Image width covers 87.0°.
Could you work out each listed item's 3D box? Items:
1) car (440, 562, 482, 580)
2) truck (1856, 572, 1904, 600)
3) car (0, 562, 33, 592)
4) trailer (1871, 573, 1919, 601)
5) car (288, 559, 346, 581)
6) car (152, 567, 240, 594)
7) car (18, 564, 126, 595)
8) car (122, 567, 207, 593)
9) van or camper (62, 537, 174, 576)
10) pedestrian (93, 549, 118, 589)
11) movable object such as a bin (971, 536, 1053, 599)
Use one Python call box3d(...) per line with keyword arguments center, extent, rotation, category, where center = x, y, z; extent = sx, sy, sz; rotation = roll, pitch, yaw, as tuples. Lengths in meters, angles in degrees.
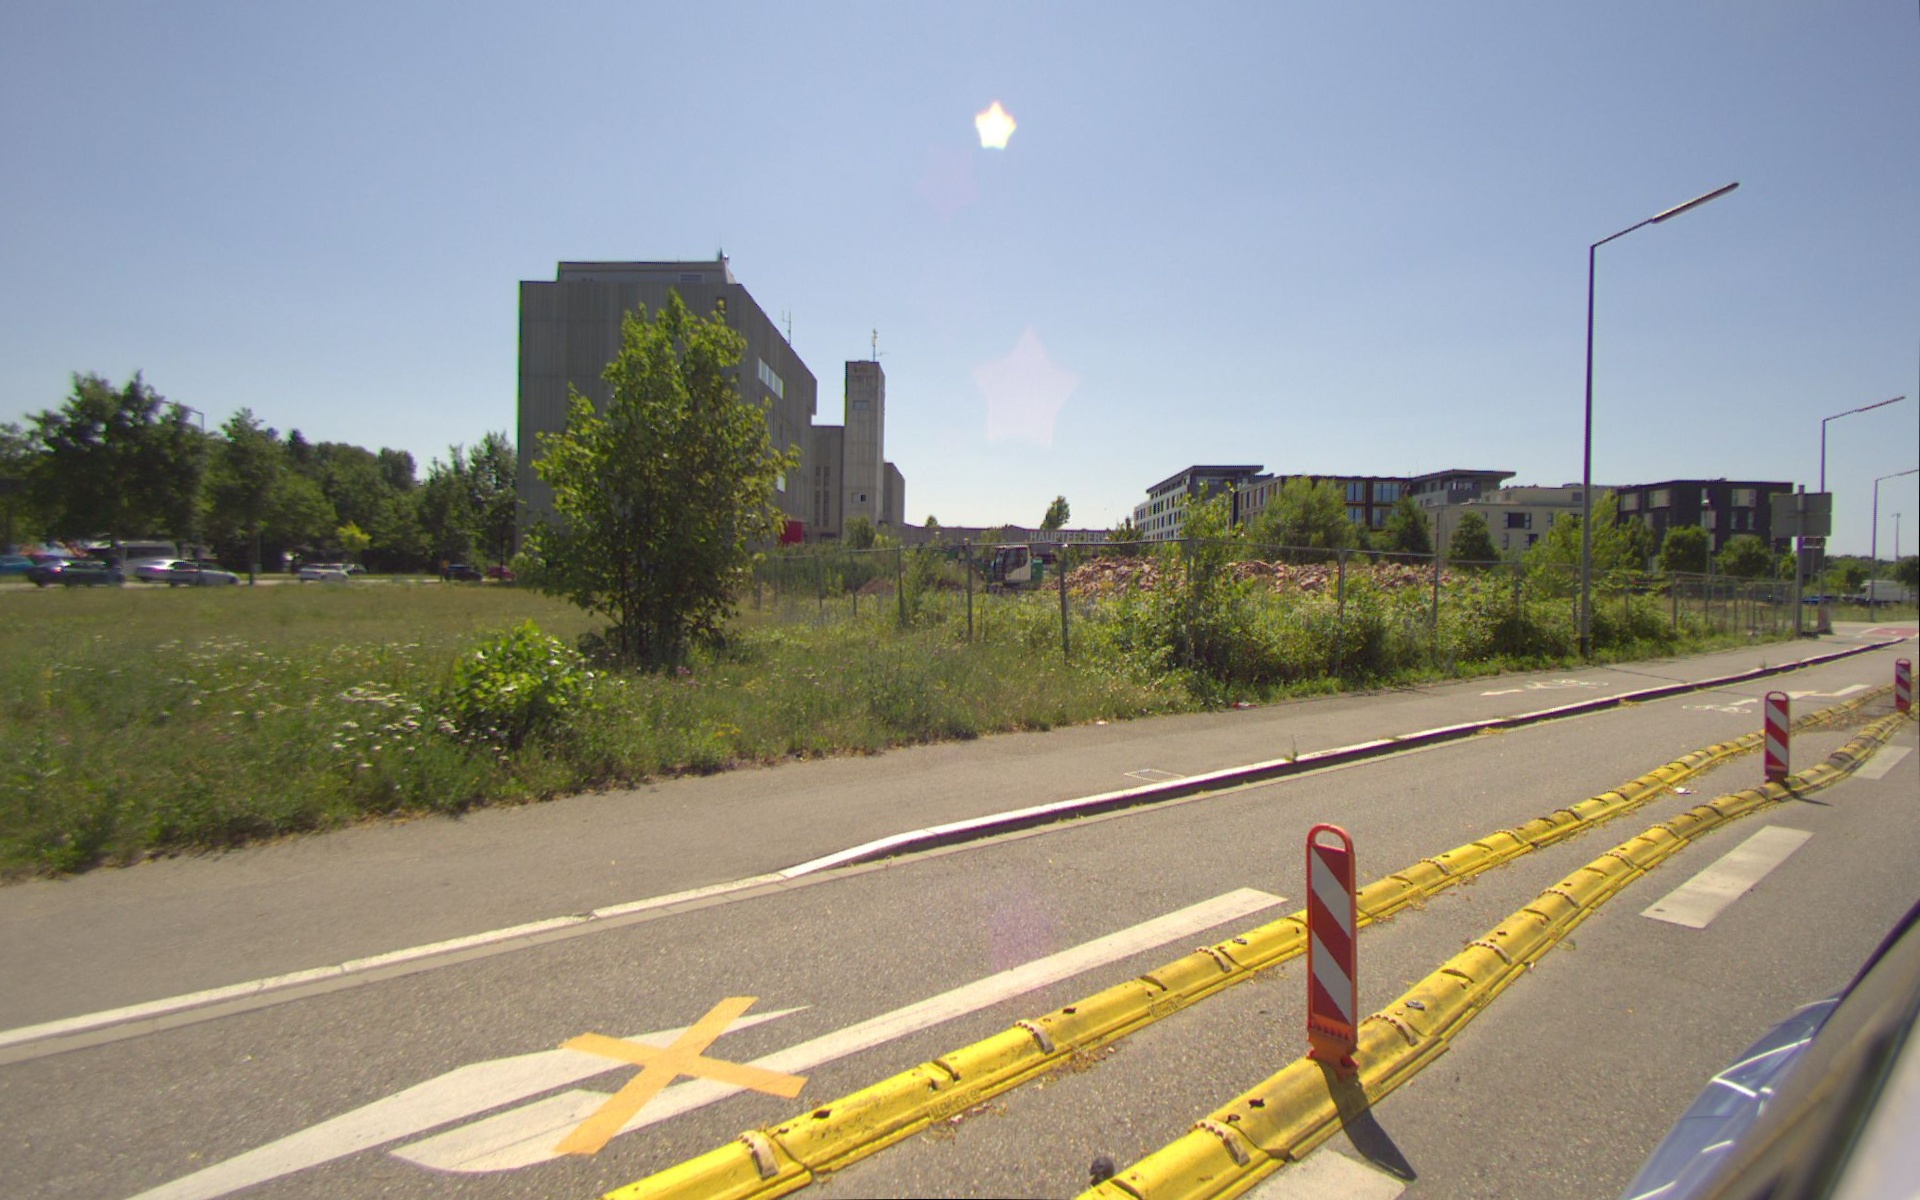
box3d(center=(-44.372, -2.541, 90.149), extent=(1.708, 1.571, 3.999), rotation=(0, 1, 1), category="car")
box3d(center=(113.529, -1.704, 124.892), extent=(3.928, 3.377, 1.998), rotation=(1, 1, 4), category="truck")
box3d(center=(-61.164, -1.465, 63.636), extent=(1.963, 1.861, 3.998), rotation=(0, 1, 3), category="car")
box3d(center=(117.325, -1.588, 124.598), extent=(8.030, 3.390, 1.998), rotation=(1, 1, 4), category="trailer")
box3d(center=(-47.491, -2.218, 74.827), extent=(1.708, 1.571, 3.999), rotation=(0, 1, 1), category="car")
box3d(center=(-45.070, -1.124, 59.830), extent=(1.965, 1.523, 4.069), rotation=(0, 1, 6), category="car")
box3d(center=(-47.808, -1.070, 54.629), extent=(1.710, 1.572, 4.400), rotation=(0, 0, 7), category="car")
box3d(center=(-50.512, -1.257, 64.377), extent=(1.708, 1.571, 4.641), rotation=(0, 1, 1), category="car")
box3d(center=(-63.769, -3.214, 76.918), extent=(2.464, 2.727, 7.516), rotation=(0, 1, -2), category="van or camper")
box3d(center=(-37.059, -1.341, 43.894), extent=(0.489, 1.712, 0.737), rotation=(0, 0, -1), category="pedestrian")
box3d(center=(2.668, -1.635, 52.029), extent=(3.619, 3.101, 2.207), rotation=(0, 1, -36), category="movable object such as a bin")
